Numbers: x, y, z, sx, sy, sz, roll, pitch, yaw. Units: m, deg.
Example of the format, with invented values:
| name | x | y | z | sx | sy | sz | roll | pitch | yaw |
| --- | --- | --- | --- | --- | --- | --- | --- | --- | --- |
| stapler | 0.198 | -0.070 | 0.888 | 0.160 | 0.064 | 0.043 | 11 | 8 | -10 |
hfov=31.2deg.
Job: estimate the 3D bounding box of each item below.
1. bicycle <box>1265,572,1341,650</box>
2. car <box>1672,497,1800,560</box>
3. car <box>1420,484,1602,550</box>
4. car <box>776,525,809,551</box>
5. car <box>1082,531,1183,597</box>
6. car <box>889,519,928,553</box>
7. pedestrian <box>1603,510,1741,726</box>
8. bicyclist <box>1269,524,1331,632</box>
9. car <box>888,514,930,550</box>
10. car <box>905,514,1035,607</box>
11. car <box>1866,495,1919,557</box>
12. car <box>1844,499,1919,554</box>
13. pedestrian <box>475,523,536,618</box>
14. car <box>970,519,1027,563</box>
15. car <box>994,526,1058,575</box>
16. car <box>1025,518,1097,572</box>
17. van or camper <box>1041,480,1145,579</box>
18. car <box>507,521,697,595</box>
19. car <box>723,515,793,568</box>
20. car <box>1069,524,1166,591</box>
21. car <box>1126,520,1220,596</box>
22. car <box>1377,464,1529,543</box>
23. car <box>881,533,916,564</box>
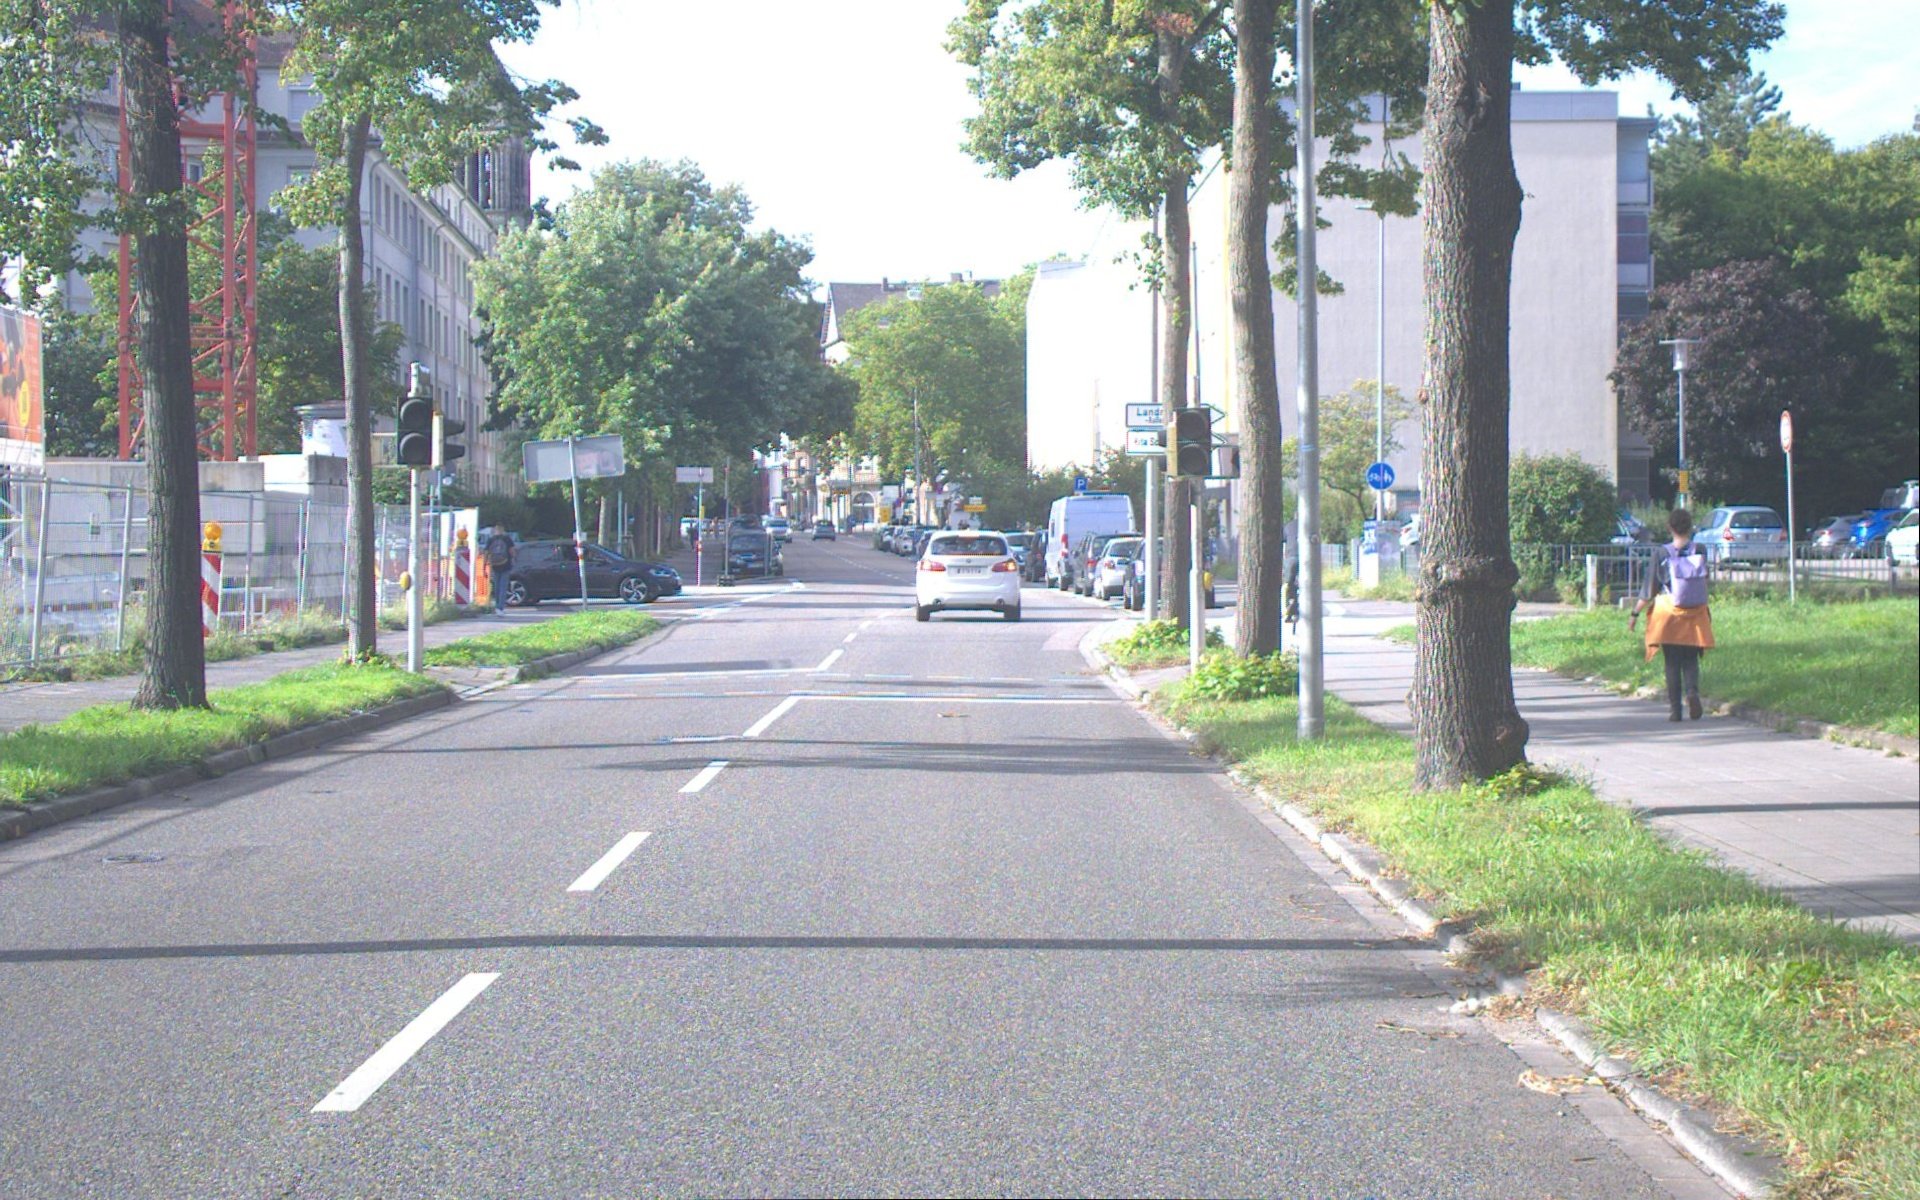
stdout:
| name | x | y | z | sx | sy | sz | roll | pitch | yaw |
| --- | --- | --- | --- | --- | --- | --- | --- | --- | --- |
| bicycle | 4.923 | 0.140 | 49.487 | 0.740 | 1.031 | 2.762 | -3 | 1 | -1 |
| car | 18.643 | -1.734 | 82.754 | 1.993 | 1.437 | 4.001 | -1 | 2 | -3 |
| car | 14.205 | -2.148 | 88.861 | 4.449 | 1.616 | 2.000 | -1 | 1 | 4 |
| car | -11.555 | -4.280 | 236.960 | 2.055 | 1.658 | 3.927 | -1 | 2 | -6 |
| car | 4.107 | -0.880 | 82.509 | 2.015 | 1.470 | 4.803 | -2 | 1 | -2 |
| car | -2.707 | -3.373 | 181.506 | 1.993 | 1.749 | 4.000 | 1 | 1 | 0 |
| pedestrian | 5.411 | 0.127 | 26.173 | 0.814 | 1.585 | 0.769 | -3 | 1 | -1 |
| bicyclist | 4.900 | -0.320 | 49.577 | 0.737 | 1.508 | 0.875 | -3 | 1 | -1 |
| car | -2.526 | -3.401 | 171.454 | 1.993 | 1.749 | 4.000 | 1 | 1 | 0 |
| car | 0.135 | -0.698 | 60.015 | 1.993 | 1.549 | 4.275 | 1 | 1 | -3 |
| car | 23.440 | -1.791 | 82.383 | 1.993 | 1.437 | 4.001 | -1 | 2 | -7 |
| car | 27.640 | -2.138 | 98.667 | 3.987 | 1.546 | 2.000 | -1 | 1 | -1 |
| pedestrian | -8.342 | -0.536 | 63.051 | 1.006 | 1.722 | 1.178 | 0 | 0 | -12 |
| car | 1.406 | -2.205 | 127.875 | 1.993 | 1.568 | 4.000 | -1 | 2 | -1 |
| car | 2.188 | -1.682 | 115.246 | 1.993 | 1.568 | 4.000 | -1 | 2 | -1 |
| car | 3.054 | -1.702 | 104.806 | 1.993 | 1.568 | 4.000 | -1 | 2 | -1 |
| van or camper | 3.587 | -1.938 | 93.865 | 2.209 | 2.598 | 5.373 | -1 | 1 | -4 |
| car | -7.817 | -0.928 | 74.916 | 3.986 | 1.565 | 2.001 | 0 | 1 | -9 |
| car | -6.503 | -1.905 | 110.272 | 1.993 | 1.634 | 4.001 | -1 | 2 | -6 |
| car | 3.991 | -1.098 | 87.844 | 1.993 | 1.610 | 4.409 | -1 | 2 | -3 |
| car | 4.369 | -0.880 | 71.034 | 1.717 | 1.491 | 4.268 | -1 | 1 | 1 |
| car | 14.089 | -2.757 | 98.353 | 4.120 | 2.178 | 2.000 | -1 | 1 | 4 |
| car | -3.603 | -3.034 | 202.138 | 1.993 | 1.749 | 4.000 | 1 | 1 | 0 |
